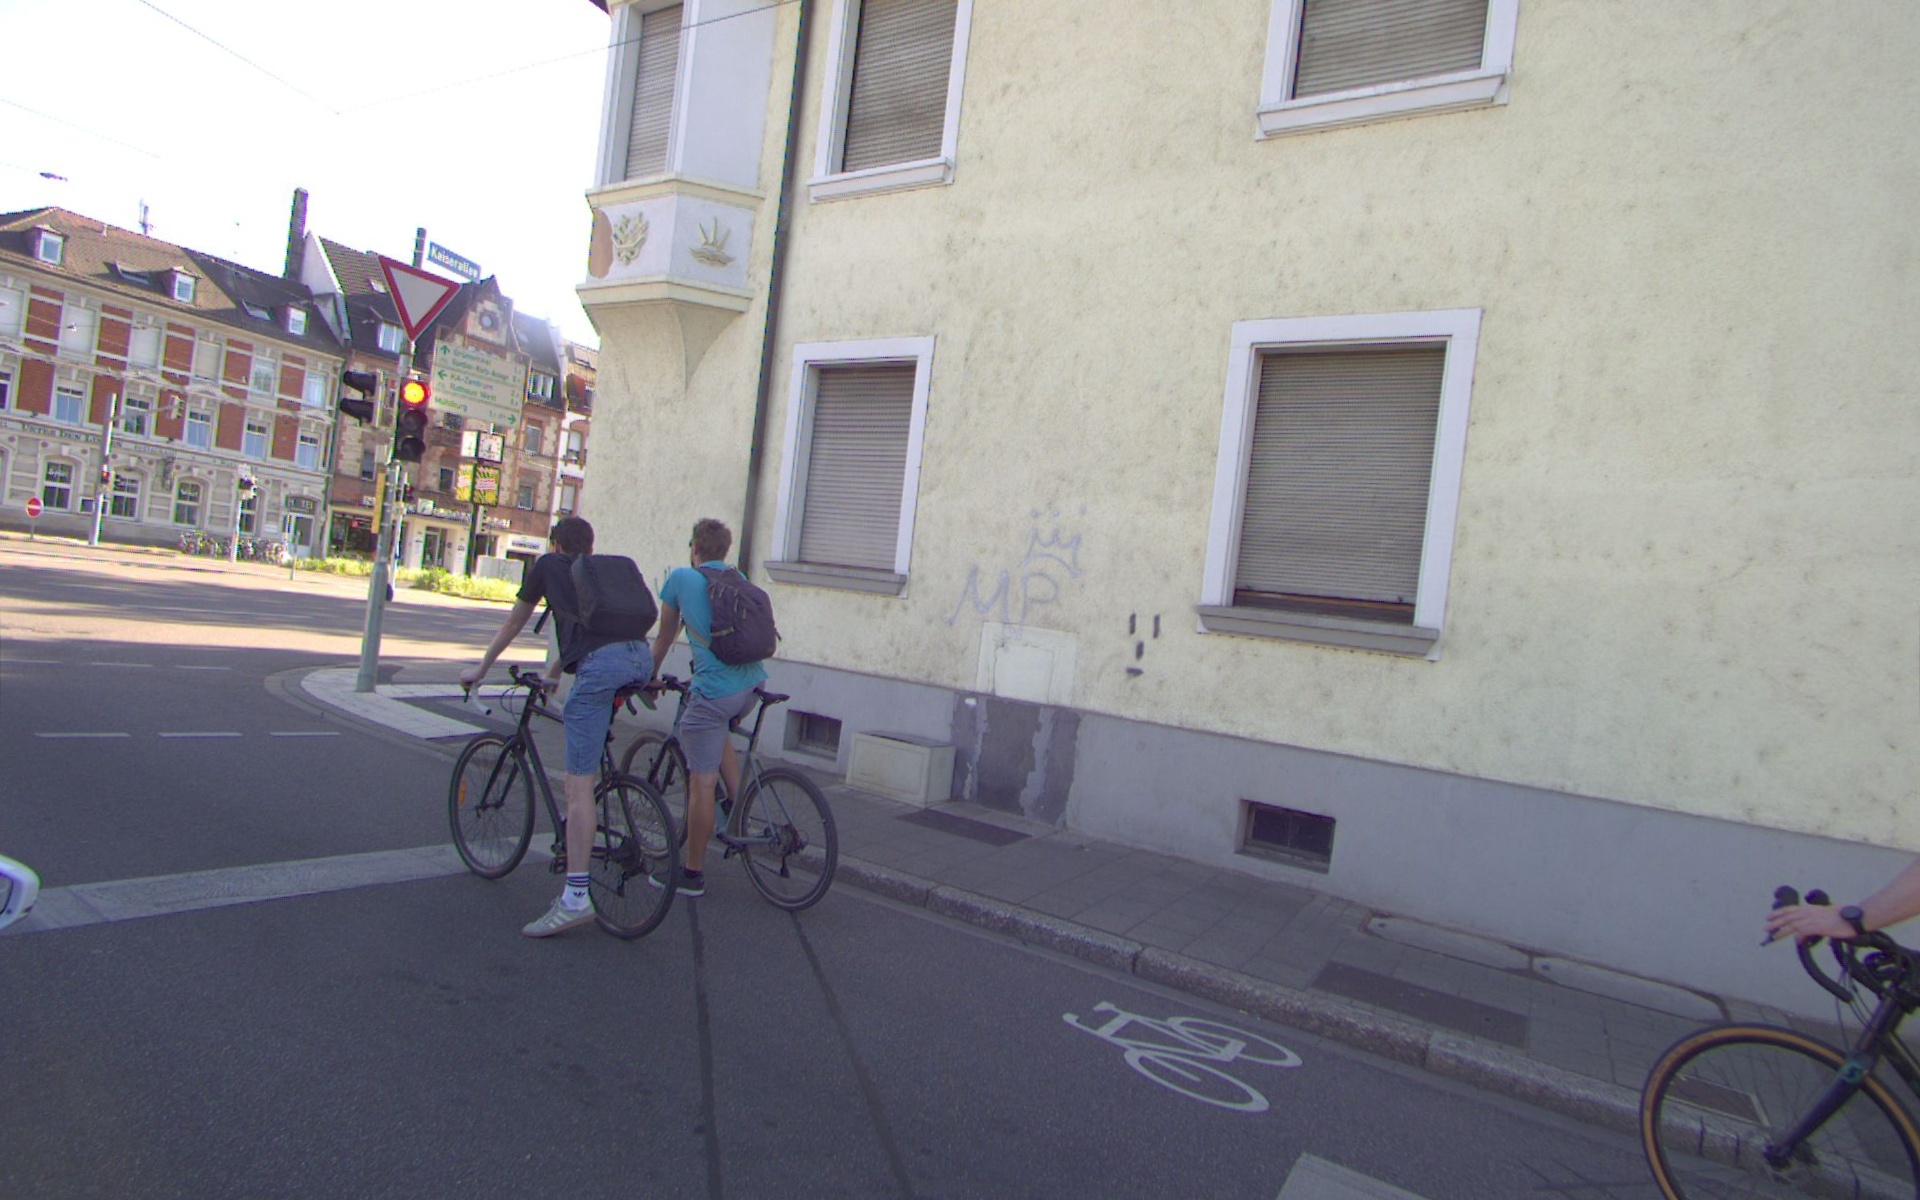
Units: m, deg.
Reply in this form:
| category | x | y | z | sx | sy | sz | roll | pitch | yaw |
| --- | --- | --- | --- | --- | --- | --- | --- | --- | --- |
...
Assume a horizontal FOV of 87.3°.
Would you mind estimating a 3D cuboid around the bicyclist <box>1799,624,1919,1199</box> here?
| category | x | y | z | sx | sy | sz | roll | pitch | yaw |
| --- | --- | --- | --- | --- | --- | --- | --- | --- | --- |
| bicyclist | 2.870 | 0.989 | 2.523 | 0.940 | 1.743 | 0.582 | 7 | 0 | 32 |

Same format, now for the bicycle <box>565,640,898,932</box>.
| category | x | y | z | sx | sy | sz | roll | pitch | yaw |
| --- | --- | --- | --- | --- | --- | --- | --- | --- | --- |
| bicycle | -1.247 | 0.886 | 5.280 | 1.784 | 1.130 | 0.519 | 7 | 0 | 34 |

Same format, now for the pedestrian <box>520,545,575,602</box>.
| category | x | y | z | sx | sy | sz | roll | pitch | yaw |
| --- | --- | --- | --- | --- | --- | --- | --- | --- | --- |
| pedestrian | -16.553 | -1.045 | 40.376 | 1.285 | 2.068 | 1.321 | 7 | 0 | 31 |

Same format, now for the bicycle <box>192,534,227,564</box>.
| category | x | y | z | sx | sy | sz | roll | pitch | yaw |
| --- | --- | --- | --- | --- | --- | --- | --- | --- | --- |
| bicycle | -34.533 | -2.358 | 46.282 | 2.140 | 1.157 | 0.618 | 7 | 0 | 37 |

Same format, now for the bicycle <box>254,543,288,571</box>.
| category | x | y | z | sx | sy | sz | roll | pitch | yaw |
| --- | --- | --- | --- | --- | --- | --- | --- | --- | --- |
| bicycle | -33.099 | -2.071 | 48.315 | 2.102 | 1.150 | 0.609 | 7 | 0 | 37 |

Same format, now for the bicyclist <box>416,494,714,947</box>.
| category | x | y | z | sx | sy | sz | roll | pitch | yaw |
| --- | --- | --- | --- | --- | --- | --- | --- | --- | --- |
| bicyclist | -1.796 | 0.473 | 4.544 | 1.083 | 1.775 | 0.562 | 7 | 0 | 34 |

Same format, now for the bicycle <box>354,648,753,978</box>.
| category | x | y | z | sx | sy | sz | roll | pitch | yaw |
| --- | --- | --- | --- | --- | --- | --- | --- | --- | --- |
| bicycle | -1.908 | 0.855 | 4.590 | 1.897 | 1.023 | 0.645 | 7 | 0 | 34 |

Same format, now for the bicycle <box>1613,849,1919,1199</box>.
| category | x | y | z | sx | sy | sz | roll | pitch | yaw |
| --- | --- | --- | --- | --- | --- | --- | --- | --- | --- |
| bicycle | 2.783 | 1.417 | 2.538 | 1.780 | 1.101 | 0.611 | 7 | 0 | 32 |

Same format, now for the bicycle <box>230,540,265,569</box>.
| category | x | y | z | sx | sy | sz | roll | pitch | yaw |
| --- | --- | --- | --- | --- | --- | --- | --- | --- | --- |
| bicycle | -33.664 | -2.164 | 47.511 | 2.140 | 1.157 | 0.618 | 7 | 0 | 37 |

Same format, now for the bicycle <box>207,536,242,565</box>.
| category | x | y | z | sx | sy | sz | roll | pitch | yaw |
| --- | --- | --- | --- | --- | --- | --- | --- | --- | --- |
| bicycle | -34.197 | -2.311 | 46.759 | 2.140 | 1.157 | 0.618 | 7 | 0 | 37 |

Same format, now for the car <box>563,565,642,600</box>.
| category | x | y | z | sx | sy | sz | roll | pitch | yaw |
| --- | --- | --- | --- | --- | --- | --- | --- | --- | --- |
| car | -23.154 | -1.135 | 65.320 | 2.116 | 1.660 | 4.340 | 7 | -1 | 31 |

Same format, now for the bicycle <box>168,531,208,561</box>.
| category | x | y | z | sx | sy | sz | roll | pitch | yaw |
| --- | --- | --- | --- | --- | --- | --- | --- | --- | --- |
| bicycle | -35.047 | -2.448 | 45.679 | 2.140 | 1.157 | 0.806 | 7 | 0 | 37 |

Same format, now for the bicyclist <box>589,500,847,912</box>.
| category | x | y | z | sx | sy | sz | roll | pitch | yaw |
| --- | --- | --- | --- | --- | --- | --- | --- | --- | --- |
| bicyclist | -1.263 | 0.499 | 5.245 | 0.961 | 1.917 | 0.602 | 6 | -1 | 34 |
